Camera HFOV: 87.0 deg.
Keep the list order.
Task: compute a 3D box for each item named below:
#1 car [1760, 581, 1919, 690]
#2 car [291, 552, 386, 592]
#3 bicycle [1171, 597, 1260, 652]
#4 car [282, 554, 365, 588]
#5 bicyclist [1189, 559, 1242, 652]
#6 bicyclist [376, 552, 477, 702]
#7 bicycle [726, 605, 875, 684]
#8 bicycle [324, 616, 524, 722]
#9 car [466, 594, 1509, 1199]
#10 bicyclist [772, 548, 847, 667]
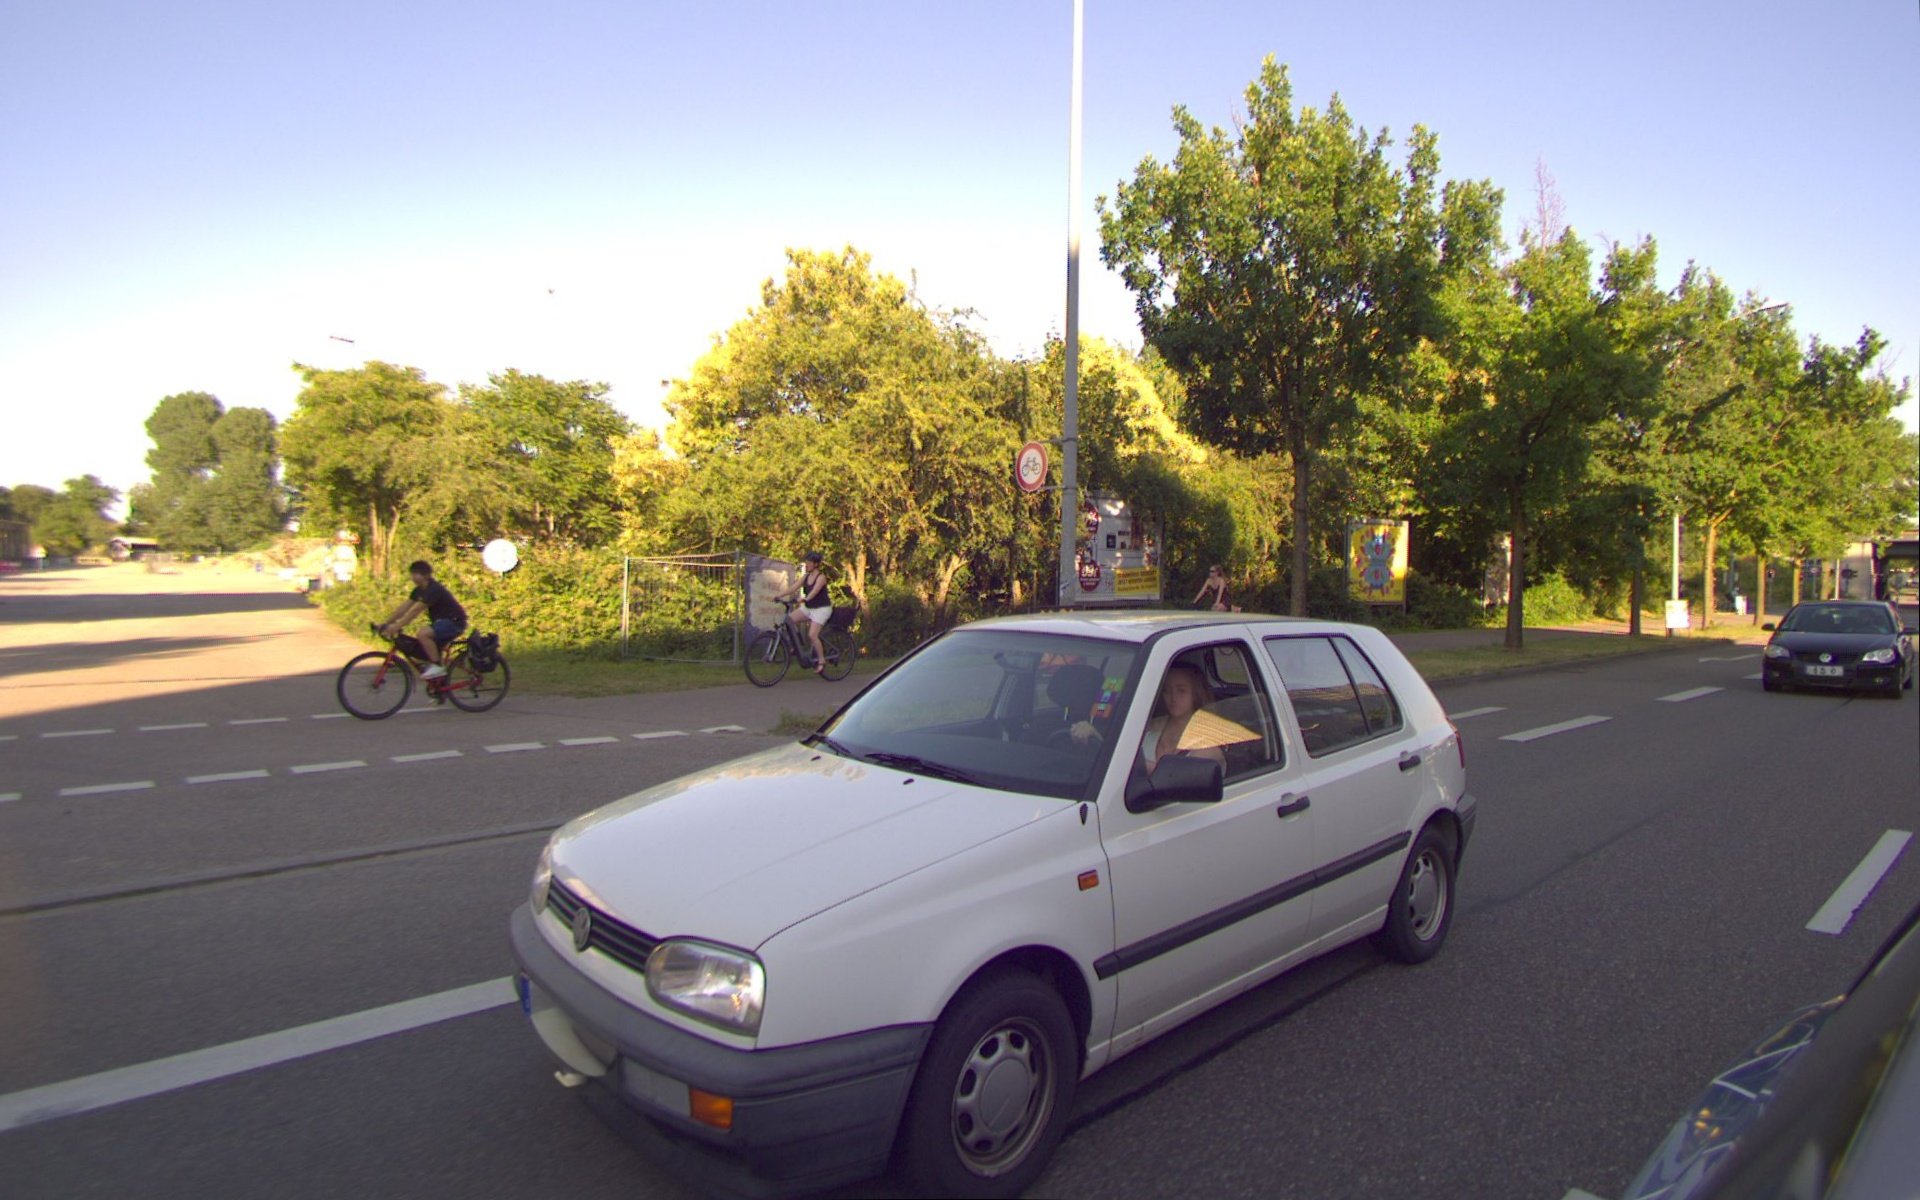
[{"bbox_3d":[14.196,0.518,16.133,4.143,1.518,1.723,1,-1,-44],"label":"car"},{"bbox_3d":[-31.000,-1.399,50.520,3.819,1.905,1.887,0,2,-40],"label":"car"},{"bbox_3d":[4.993,0.458,19.703,2.023,0.986,0.618,-1,2,-41],"label":"bicycle"},{"bbox_3d":[-36.976,-1.674,58.849,3.867,1.905,1.918,0,2,-40],"label":"car"},{"bbox_3d":[4.979,0.088,19.694,0.833,1.755,0.604,0,1,-41],"label":"bicyclist"},{"bbox_3d":[-5.665,0.262,10.750,0.833,1.520,0.614,0,1,-41],"label":"bicyclist"},{"bbox_3d":[-2.178,0.583,14.051,2.023,0.986,0.618,-1,2,-41],"label":"bicycle"},{"bbox_3d":[-5.669,0.690,10.761,1.790,0.986,0.618,0,2,-41],"label":"bicycle"},{"bbox_3d":[0.510,0.707,3.806,3.971,1.416,1.612,0,-1,-44],"label":"car"},{"bbox_3d":[-2.095,0.088,14.111,0.833,1.598,0.604,0,1,-41],"label":"bicyclist"}]
